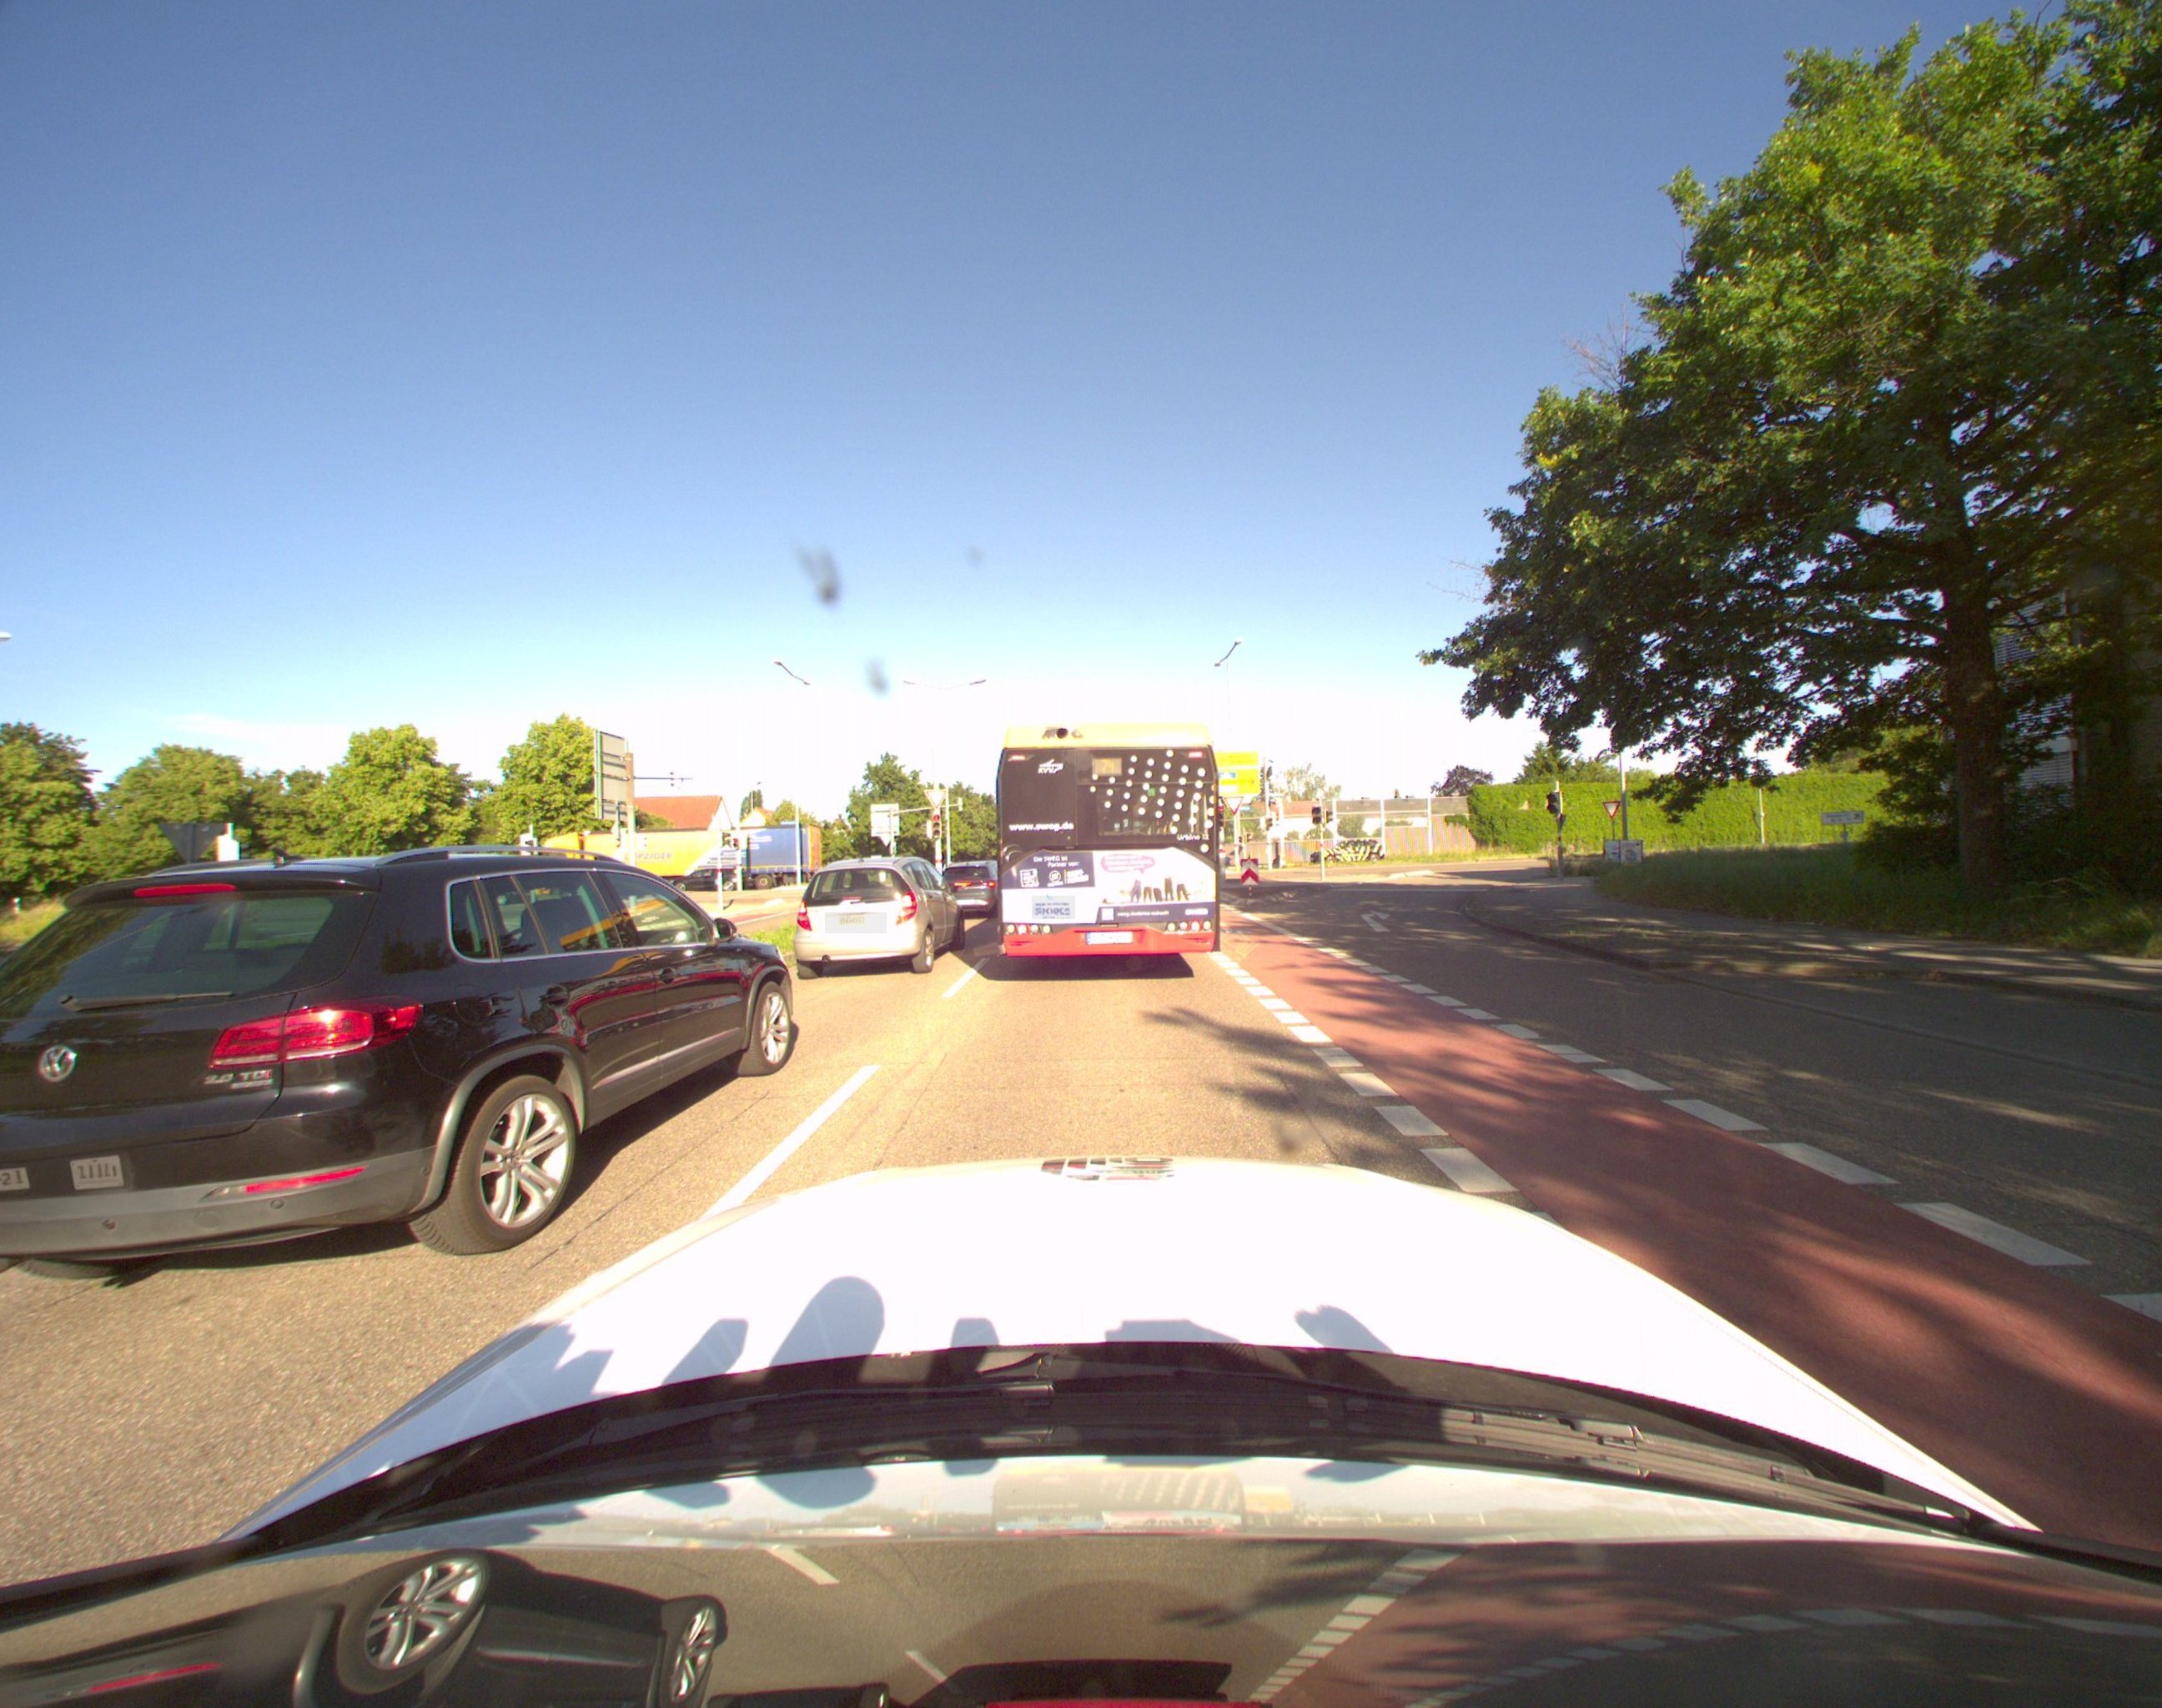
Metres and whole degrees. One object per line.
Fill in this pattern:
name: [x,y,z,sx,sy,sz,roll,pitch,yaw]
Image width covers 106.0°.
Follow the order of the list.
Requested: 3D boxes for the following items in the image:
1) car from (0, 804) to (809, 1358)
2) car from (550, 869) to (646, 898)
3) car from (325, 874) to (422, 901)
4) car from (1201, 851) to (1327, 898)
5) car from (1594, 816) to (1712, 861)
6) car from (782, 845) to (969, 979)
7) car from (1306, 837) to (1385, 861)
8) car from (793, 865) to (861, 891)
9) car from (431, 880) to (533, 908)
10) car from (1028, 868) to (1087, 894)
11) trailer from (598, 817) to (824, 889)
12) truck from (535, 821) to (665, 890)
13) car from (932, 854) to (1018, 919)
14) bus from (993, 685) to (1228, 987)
car: [-3.183,0.763,4.559,1.814,1.673,4.004,-3,-1,1]
car: [-24.678,1.500,41.709,3.842,1.385,1.678,-1,-1,-7]
car: [-39.972,1.890,46.078,3.980,1.442,1.563,-1,-1,-5]
car: [5.390,0.598,24.212,3.500,1.302,1.579,-1,1,10]
car: [17.874,-0.462,25.434,3.412,1.296,1.449,0,-1,-24]
car: [-2.886,0.714,12.386,1.748,1.620,4.033,-2,1,0]
car: [15.432,-0.266,47.653,4.148,1.302,1.573,-1,-1,-2]
car: [-16.942,1.579,54.429,3.979,1.612,1.693,-2,0,-4]
car: [-29.939,1.991,40.785,3.842,1.313,1.504,-1,-1,-7]
car: [-1.647,1.861,55.980,3.979,1.612,1.693,-2,0,-4]
trailer: [-23.037,-0.083,51.225,12.712,4.030,2.466,-2,0,-5]
truck: [-29.755,0.102,50.609,6.387,3.998,2.468,-2,0,-5]
car: [-2.672,0.798,21.210,1.582,1.486,3.684,-2,-1,2]
bus: [0.517,-0.197,15.075,2.586,3.334,11.988,-1,0,2]
